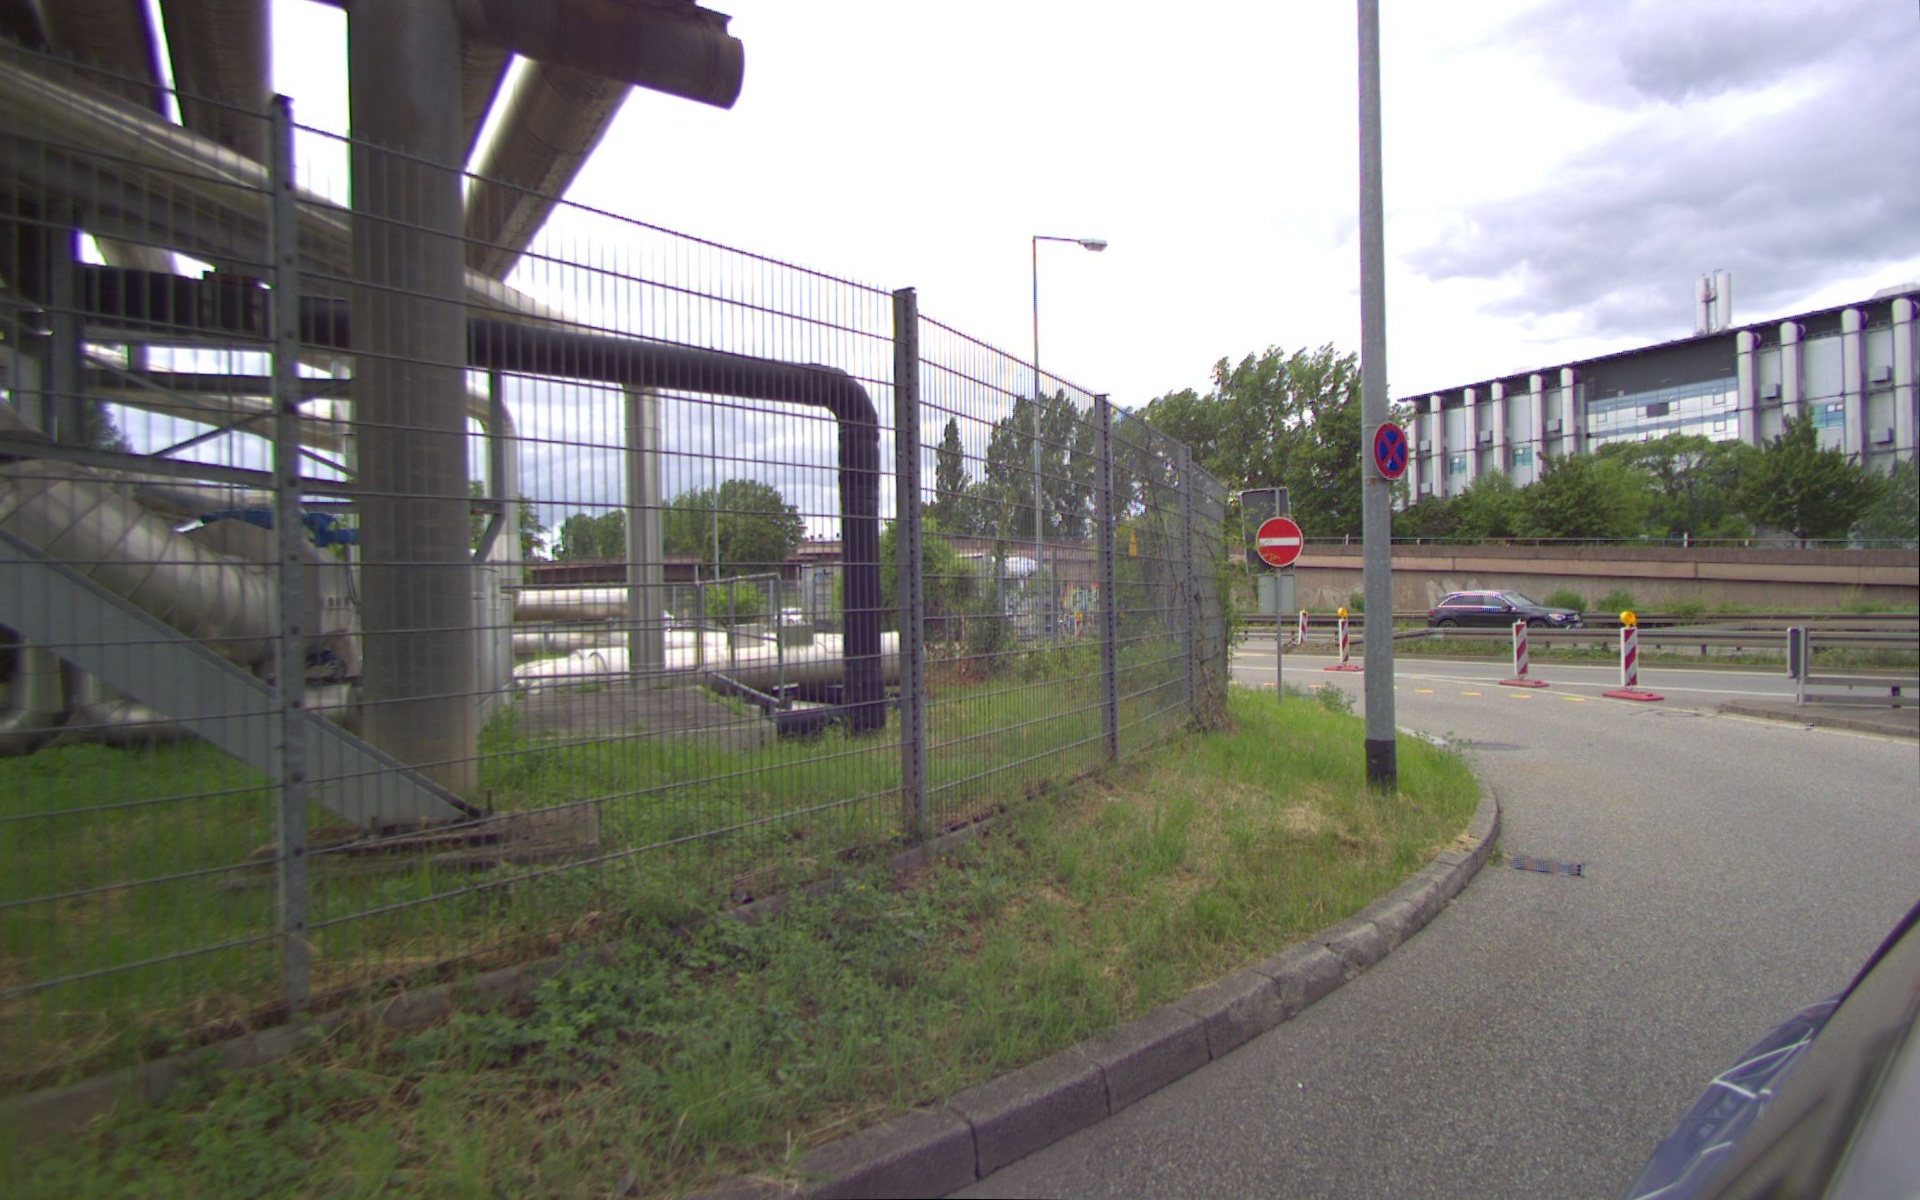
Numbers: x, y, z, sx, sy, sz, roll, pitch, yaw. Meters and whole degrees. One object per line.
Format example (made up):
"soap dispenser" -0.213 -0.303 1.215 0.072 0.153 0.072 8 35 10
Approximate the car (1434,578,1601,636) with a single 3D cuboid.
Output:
"car" 17.967 0.218 32.780 1.947 1.528 4.290 -9 5 -36

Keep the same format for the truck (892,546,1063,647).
"truck" 0.648 -0.154 46.882 3.112 4.181 8.125 -4 2 -41

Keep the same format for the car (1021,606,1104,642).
"car" 5.114 1.174 50.857 1.902 1.725 3.996 0 -1 -39

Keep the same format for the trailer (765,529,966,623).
"trailer" -5.360 -1.077 53.522 3.114 4.377 13.235 -4 1 -42
